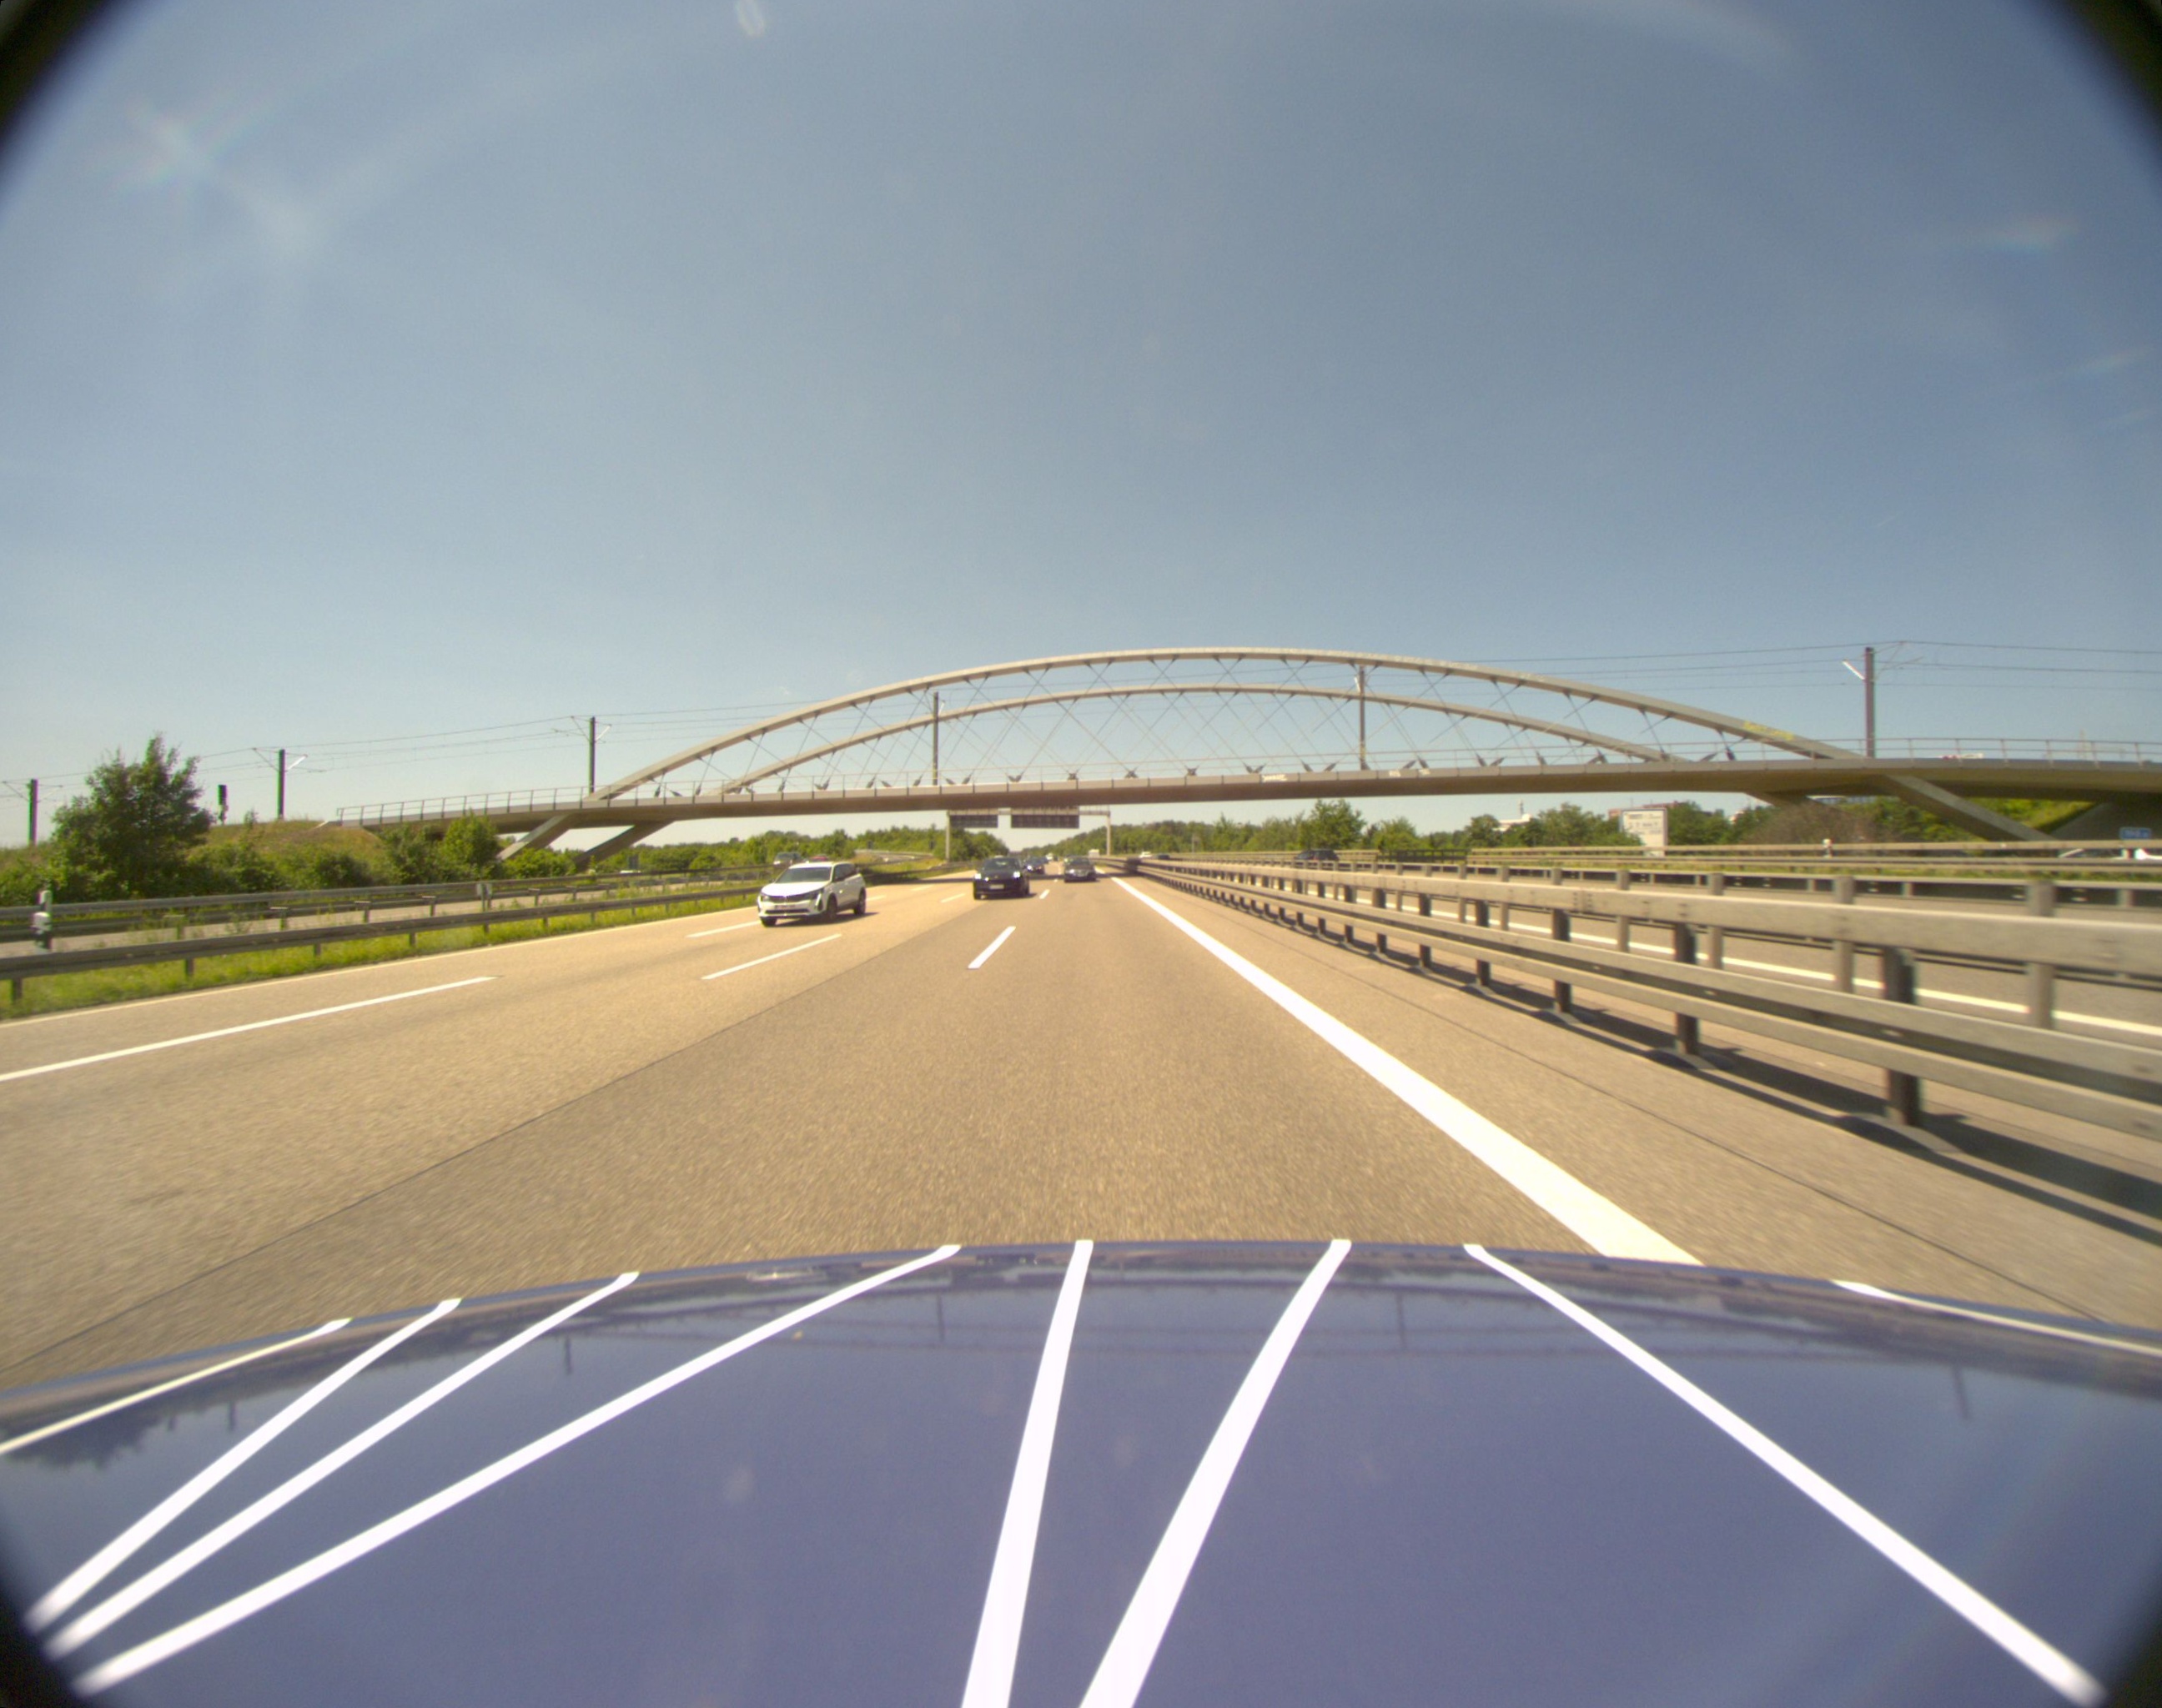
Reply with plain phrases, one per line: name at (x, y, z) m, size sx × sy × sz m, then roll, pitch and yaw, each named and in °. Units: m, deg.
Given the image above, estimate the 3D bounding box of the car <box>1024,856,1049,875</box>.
car at (-3.839, 0.979, 65.995) m, size 1.931 × 1.390 × 4.117 m, roll -3°, pitch 1°, yaw 0°

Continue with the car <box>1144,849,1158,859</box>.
car at (11.709, -0.050, 127.374) m, size 1.933 × 1.629 × 4.976 m, roll -2°, pitch 0°, yaw 1°

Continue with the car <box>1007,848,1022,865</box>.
car at (-8.251, 0.309, 94.159) m, size 1.809 × 1.908 × 4.292 m, roll -3°, pitch 1°, yaw -6°

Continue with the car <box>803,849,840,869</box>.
car at (-22.634, 0.392, 66.469) m, size 1.932 × 1.586 × 4.130 m, roll -3°, pitch 1°, yaw -3°

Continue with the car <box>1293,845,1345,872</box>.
car at (13.984, 0.233, 44.913) m, size 1.662 × 1.455 × 4.444 m, roll -3°, pitch 1°, yaw 0°

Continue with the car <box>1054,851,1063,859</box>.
car at (-5.592, 0.140, 189.154) m, size 1.998 × 1.849 × 4.000 m, roll -2°, pitch 1°, yaw 2°

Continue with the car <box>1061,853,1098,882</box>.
car at (-0.036, 0.743, 44.133) m, size 1.931 × 1.499 × 4.391 m, roll -2°, pitch 1°, yaw 2°

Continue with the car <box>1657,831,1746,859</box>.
car at (38.199, -0.540, 46.920) m, size 1.998 × 1.608 × 4.322 m, roll -2°, pitch 0°, yaw 1°

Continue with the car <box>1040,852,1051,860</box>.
car at (-6.524, 0.311, 139.720) m, size 1.932 × 1.390 × 4.116 m, roll -3°, pitch 1°, yaw -1°

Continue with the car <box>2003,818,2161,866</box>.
car at (36.895, -0.438, 27.600) m, size 1.998 × 1.608 × 4.000 m, roll -2°, pitch 0°, yaw 1°

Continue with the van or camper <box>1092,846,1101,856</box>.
van or camper at (4.563, -0.892, 225.421) m, size 2.450 × 3.069 × 8.121 m, roll -2°, pitch 0°, yaw -1°

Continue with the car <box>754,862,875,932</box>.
car at (-7.358, 1.111, 21.536) m, size 1.748 × 1.582 × 4.619 m, roll -3°, pitch 1°, yaw 0°

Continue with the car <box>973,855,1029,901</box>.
car at (-3.099, 0.885, 30.228) m, size 1.932 × 1.586 × 4.130 m, roll -3°, pitch 1°, yaw -3°

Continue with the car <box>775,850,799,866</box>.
car at (-29.854, 0.404, 77.298) m, size 1.706 × 1.566 × 4.122 m, roll -3°, pitch 1°, yaw -15°

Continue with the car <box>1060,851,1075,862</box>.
car at (-1.824, 0.354, 103.903) m, size 1.932 × 1.390 × 4.116 m, roll -3°, pitch 1°, yaw -2°

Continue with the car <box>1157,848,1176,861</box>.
car at (9.374, 0.051, 83.408) m, size 1.634 × 1.403 × 4.099 m, roll -2°, pitch 0°, yaw 1°
